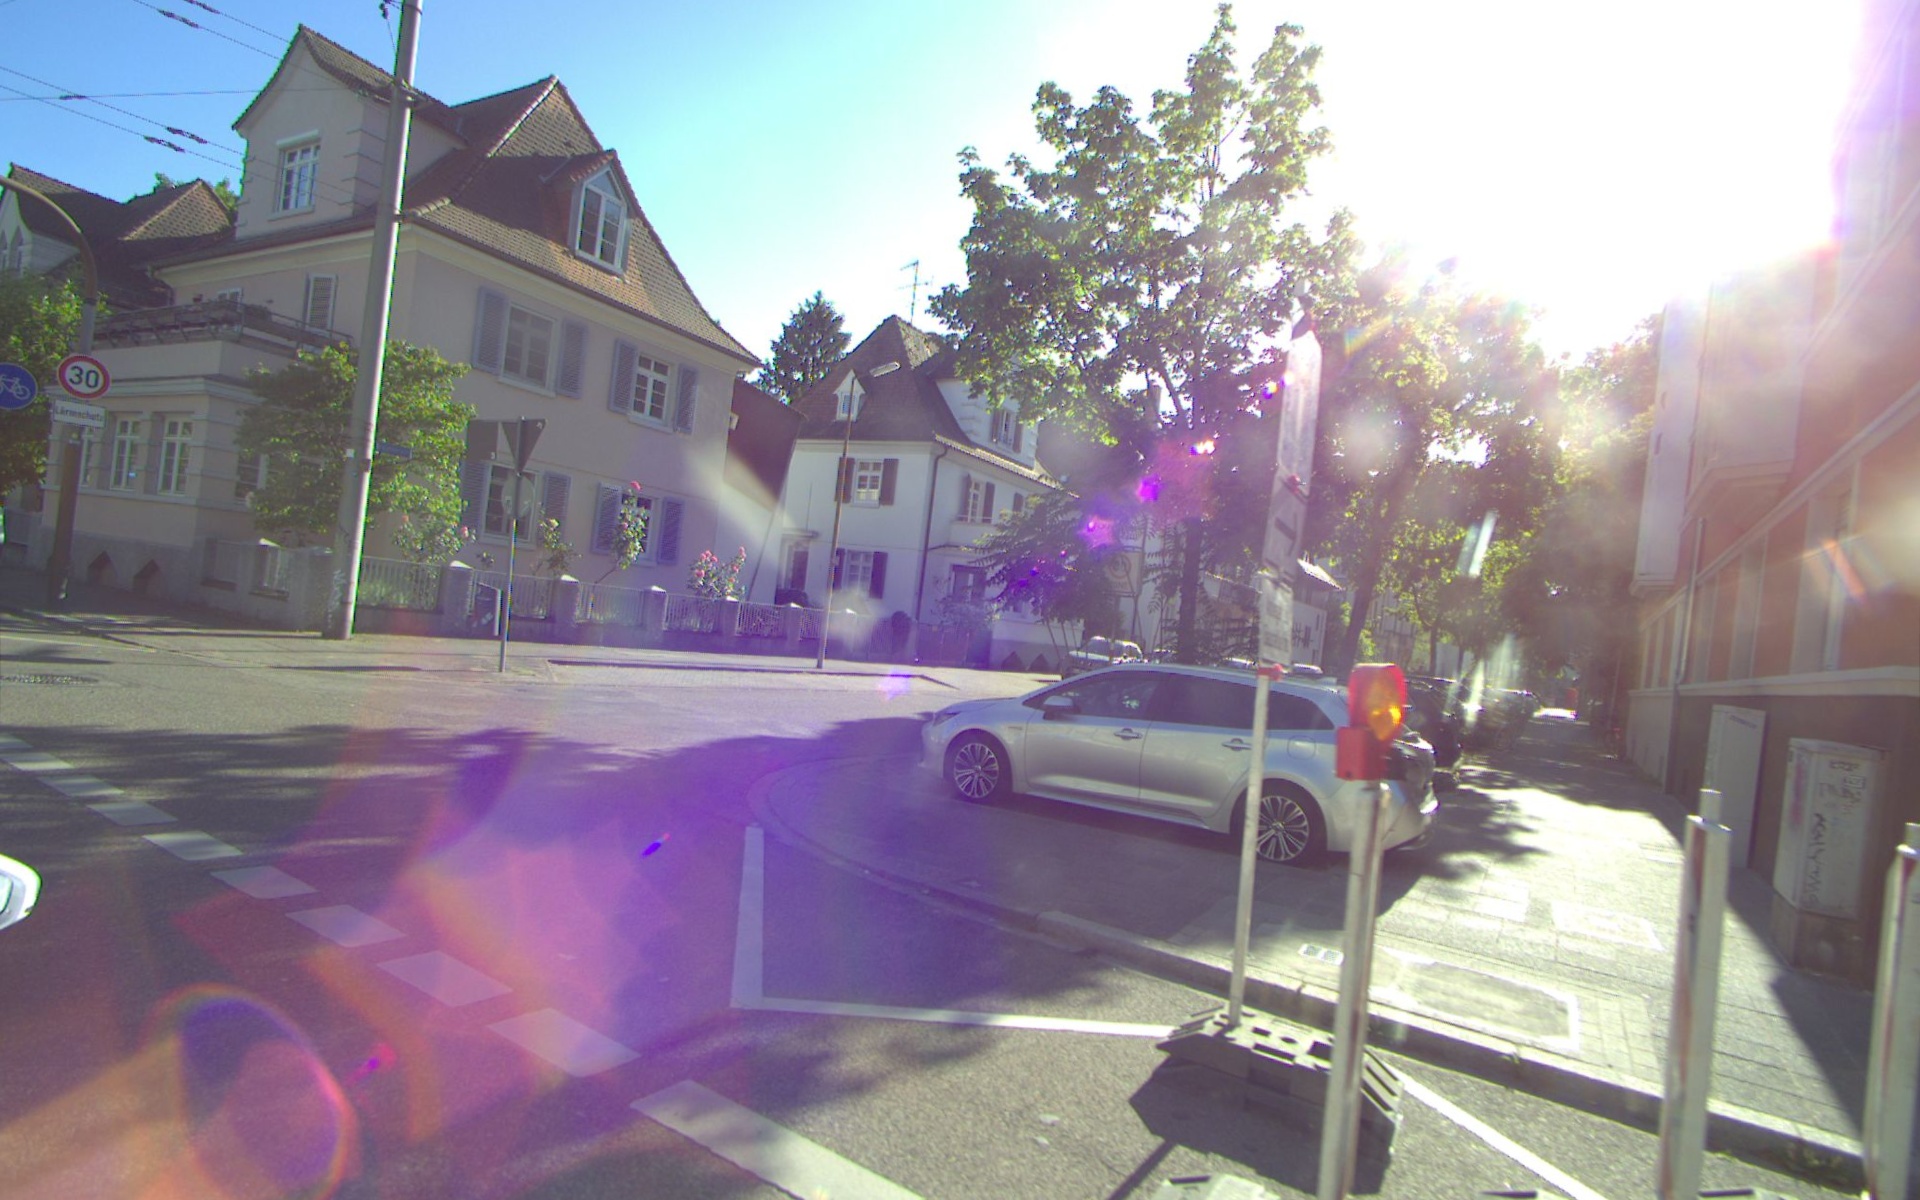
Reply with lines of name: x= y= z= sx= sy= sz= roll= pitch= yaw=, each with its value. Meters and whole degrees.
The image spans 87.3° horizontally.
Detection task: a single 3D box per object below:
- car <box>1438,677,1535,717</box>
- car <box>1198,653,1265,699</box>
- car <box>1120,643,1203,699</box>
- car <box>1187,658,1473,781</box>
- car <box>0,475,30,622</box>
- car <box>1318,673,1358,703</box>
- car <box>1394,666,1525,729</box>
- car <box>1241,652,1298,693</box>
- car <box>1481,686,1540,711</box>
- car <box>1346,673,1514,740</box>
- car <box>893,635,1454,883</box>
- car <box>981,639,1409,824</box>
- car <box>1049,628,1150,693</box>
car: x=26.018 y=4.759 z=49.748 sx=4.023 sy=1.532 sz=1.703 roll=3 pitch=-1 yaw=35
car: x=12.508 y=3.495 z=46.125 sx=1.878 sy=1.669 sz=3.998 roll=7 pitch=-3 yaw=30
car: x=7.590 y=2.692 z=37.600 sx=1.877 sy=1.669 sz=4.000 roll=7 pitch=-3 yaw=27
car: x=5.920 y=1.823 z=16.190 sx=4.019 sy=1.436 sz=1.705 roll=4 pitch=-1 yaw=30
car: x=-14.110 y=-0.916 z=13.194 sx=3.488 sy=1.858 sz=1.763 roll=7 pitch=-2 yaw=32
car: x=25.953 y=6.041 z=68.994 sx=1.878 sy=1.669 sz=3.998 roll=7 pitch=-3 yaw=30
car: x=18.396 y=3.552 z=37.094 sx=4.019 sy=1.674 sz=1.704 roll=7 pitch=1 yaw=32
car: x=16.031 y=3.769 z=51.976 sx=1.878 sy=1.669 sz=3.998 roll=7 pitch=-3 yaw=30
car: x=44.343 y=7.917 z=81.007 sx=4.021 sy=1.532 sz=1.704 roll=4 pitch=-1 yaw=32
car: x=13.148 y=2.919 z=28.185 sx=4.021 sy=1.406 sz=1.704 roll=4 pitch=-1 yaw=32
car: x=1.773 y=1.197 z=8.843 sx=4.441 sy=1.406 sz=1.705 roll=4 pitch=-1 yaw=30
car: x=2.650 y=1.382 z=11.668 sx=4.441 sy=1.476 sz=1.776 roll=4 pitch=-1 yaw=30
car: x=4.598 y=2.019 z=32.734 sx=1.877 sy=1.669 sz=4.000 roll=7 pitch=-3 yaw=27
